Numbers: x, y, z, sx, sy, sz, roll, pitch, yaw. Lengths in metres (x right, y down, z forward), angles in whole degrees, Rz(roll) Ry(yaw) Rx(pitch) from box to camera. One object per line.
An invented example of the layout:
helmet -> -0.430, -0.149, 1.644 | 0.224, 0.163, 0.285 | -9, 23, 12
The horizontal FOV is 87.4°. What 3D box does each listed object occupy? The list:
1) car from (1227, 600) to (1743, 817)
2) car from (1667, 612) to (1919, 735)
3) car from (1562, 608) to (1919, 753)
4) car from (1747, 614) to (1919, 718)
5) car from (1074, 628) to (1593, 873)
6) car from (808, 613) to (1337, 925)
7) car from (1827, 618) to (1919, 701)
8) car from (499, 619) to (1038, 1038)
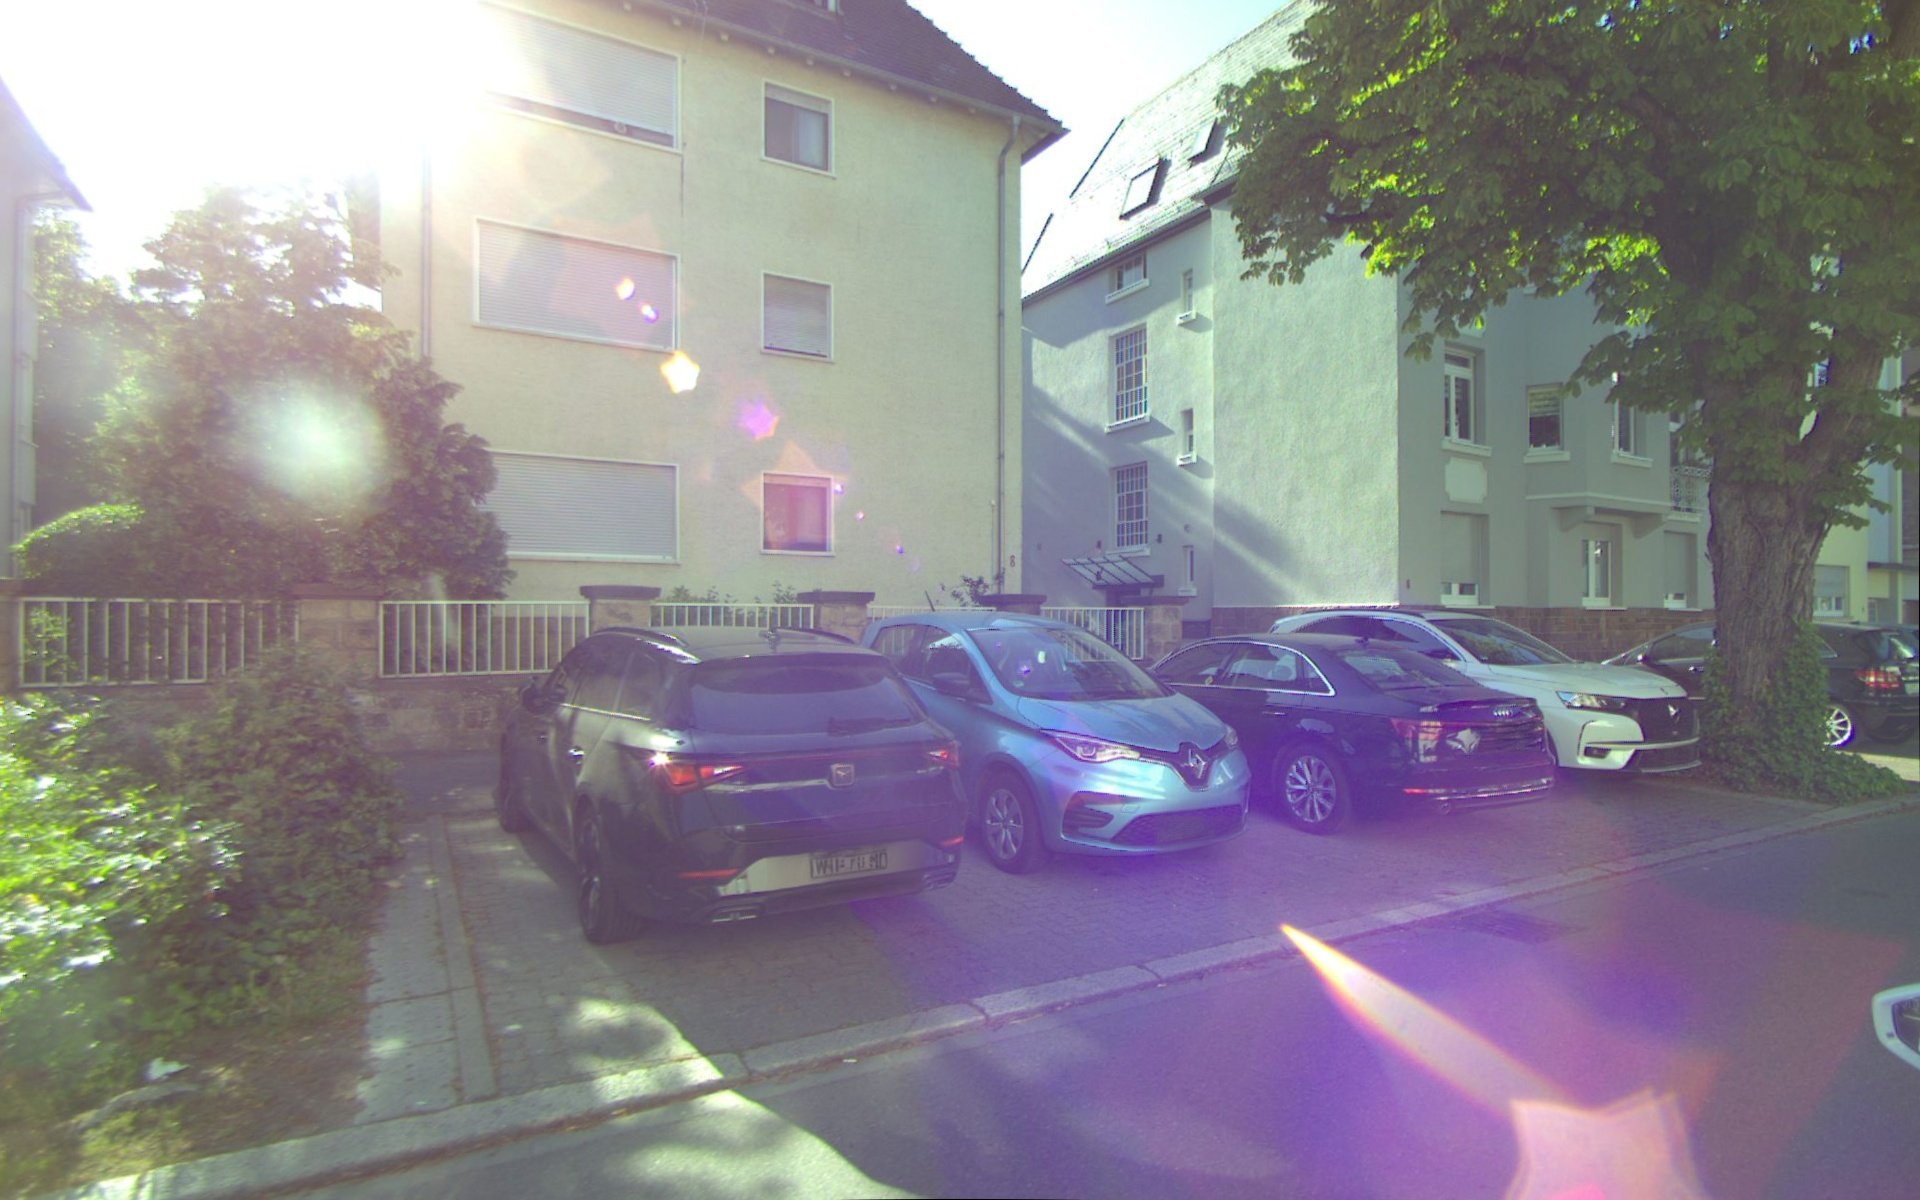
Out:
car -> 4.945, 0.909, 10.185 | 1.800, 1.674, 4.368 | -1, -1, -29
car -> 13.217, 1.037, 15.371 | 1.748, 1.596, 3.502 | 1, 1, -27
car -> 10.915, 0.972, 13.919 | 1.955, 1.596, 3.972 | 1, 1, -27
car -> 15.481, 1.071, 16.201 | 1.786, 1.504, 4.003 | 1, 1, -30
car -> 2.823, 1.011, 8.481 | 1.677, 1.488, 3.968 | 1, -1, -30
car -> 0.513, 0.914, 7.397 | 1.857, 1.613, 3.966 | 1, -1, -31
car -> 18.783, 1.169, 18.483 | 1.784, 1.463, 3.991 | 2, 1, -38
car -> -1.484, 0.887, 5.963 | 1.840, 1.518, 4.166 | 1, -1, -31
